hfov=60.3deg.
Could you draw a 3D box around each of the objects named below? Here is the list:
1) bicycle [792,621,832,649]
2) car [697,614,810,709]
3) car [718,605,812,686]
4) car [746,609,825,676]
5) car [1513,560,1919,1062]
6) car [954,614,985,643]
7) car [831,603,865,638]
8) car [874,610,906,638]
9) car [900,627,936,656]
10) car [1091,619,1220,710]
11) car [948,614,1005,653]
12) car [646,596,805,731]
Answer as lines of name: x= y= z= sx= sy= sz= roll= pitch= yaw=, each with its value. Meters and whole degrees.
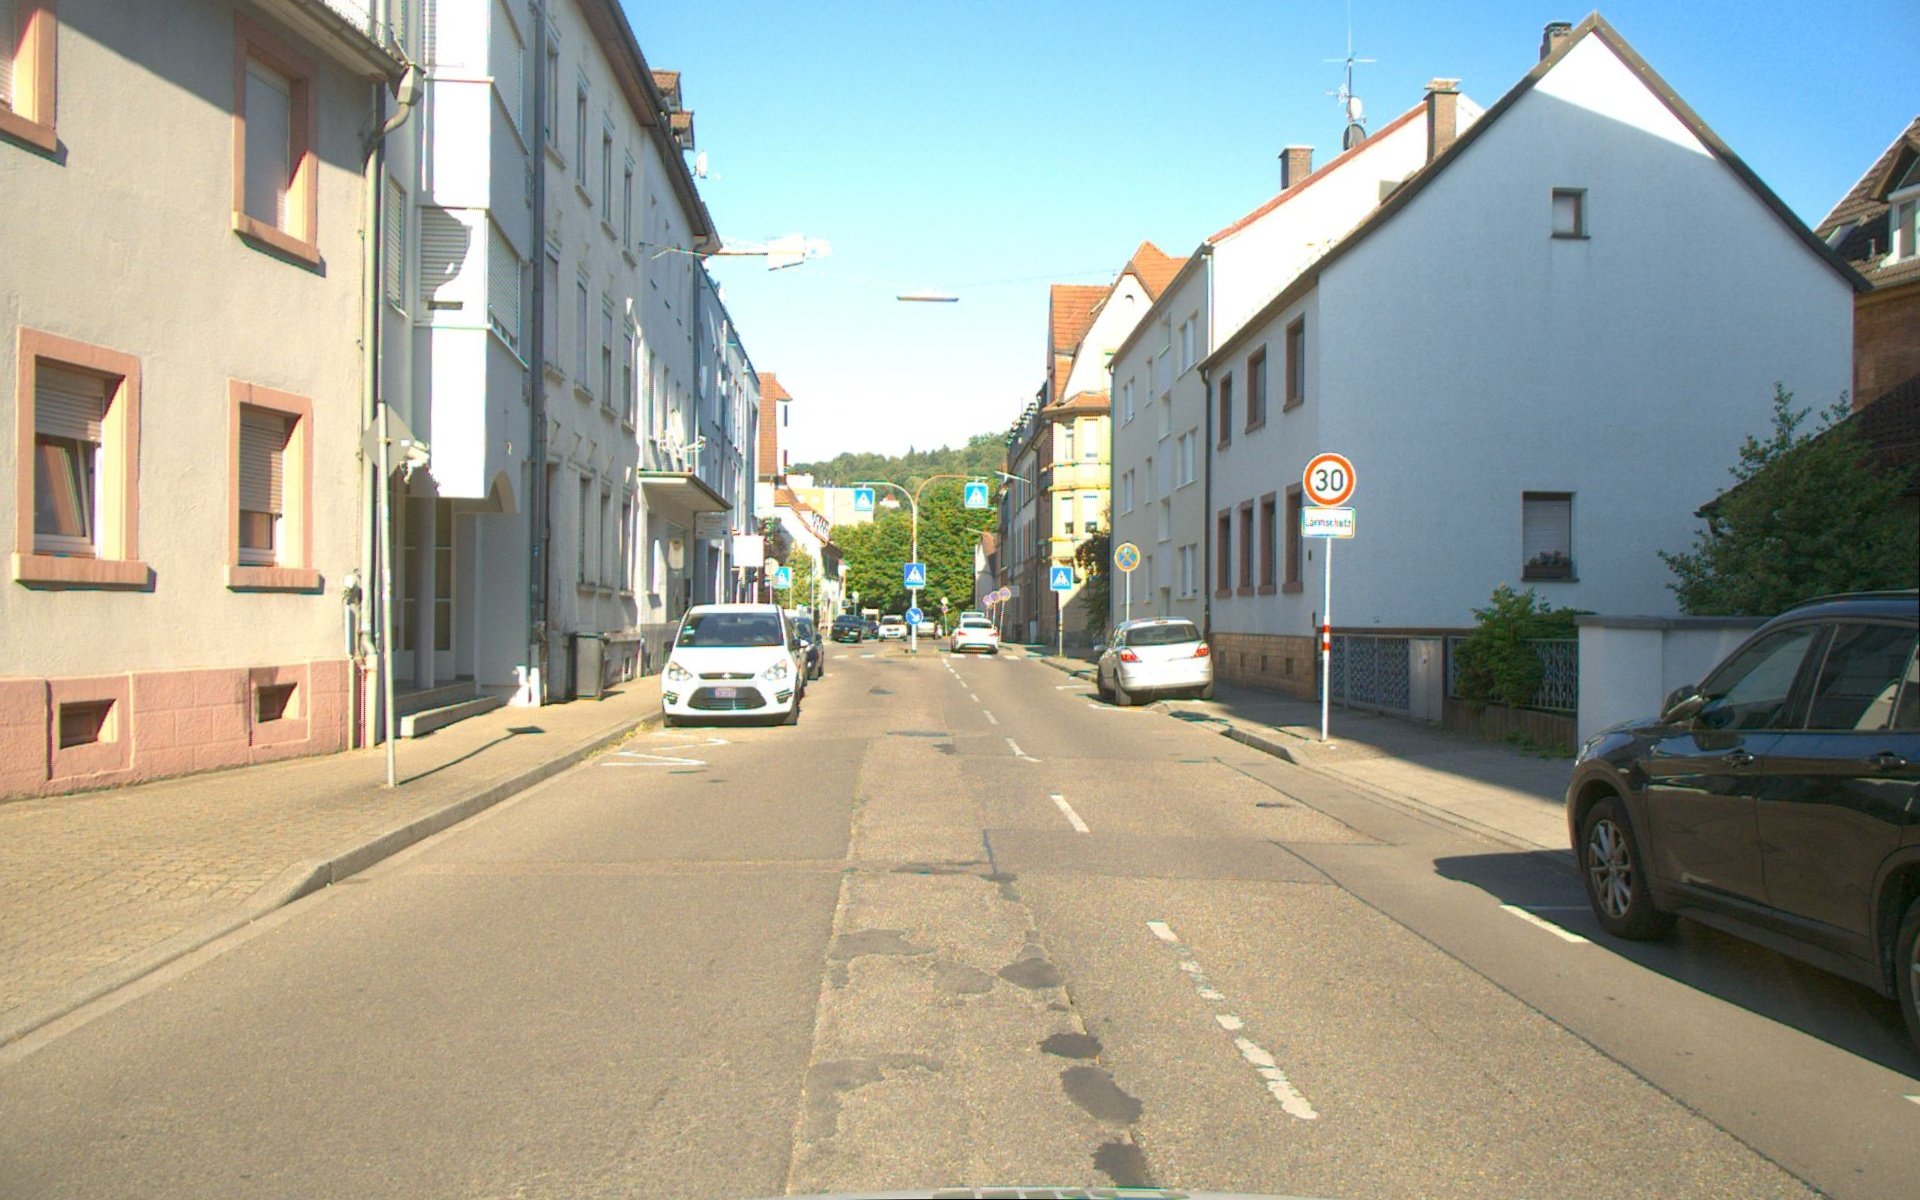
bicycle: x=-6.646 y=1.577 z=74.489 sx=1.750 sy=1.205 sz=0.598 roll=1 pitch=-1 yaw=-2
car: x=-3.580 y=1.045 z=29.270 sx=1.730 sy=1.522 sz=4.122 roll=-1 pitch=-1 yaw=-4
car: x=-3.982 y=0.920 z=34.213 sx=1.627 sy=1.553 sz=3.806 roll=1 pitch=-1 yaw=-3
car: x=-4.167 y=1.051 z=40.057 sx=1.696 sy=1.526 sz=3.956 roll=1 pitch=-2 yaw=-3
car: x=4.030 y=0.691 z=6.764 sx=1.817 sy=1.665 sz=4.621 roll=-2 pitch=-1 yaw=-2
car: x=0.630 y=1.891 z=111.095 sx=1.804 sy=1.939 sz=3.997 roll=0 pitch=-1 yaw=-3
car: x=-6.804 y=1.233 z=100.316 sx=1.954 sy=2.049 sz=3.996 roll=1 pitch=-1 yaw=-4
car: x=-4.465 y=1.529 z=104.697 sx=1.772 sy=1.731 sz=4.186 roll=-1 pitch=-1 yaw=-6
car: x=-3.037 y=2.942 z=118.570 sx=1.958 sy=2.049 sz=3.989 roll=1 pitch=-1 yaw=-11
car: x=3.482 y=1.129 z=30.136 sx=1.706 sy=1.518 sz=4.437 roll=-1 pitch=-1 yaw=-1
car: x=0.649 y=1.367 z=66.998 sx=1.954 sy=1.492 sz=3.996 roll=1 pitch=-1 yaw=-5
car: x=-3.229 y=0.857 z=23.698 sx=1.955 sy=1.677 sz=5.215 roll=2 pitch=-1 yaw=-5
